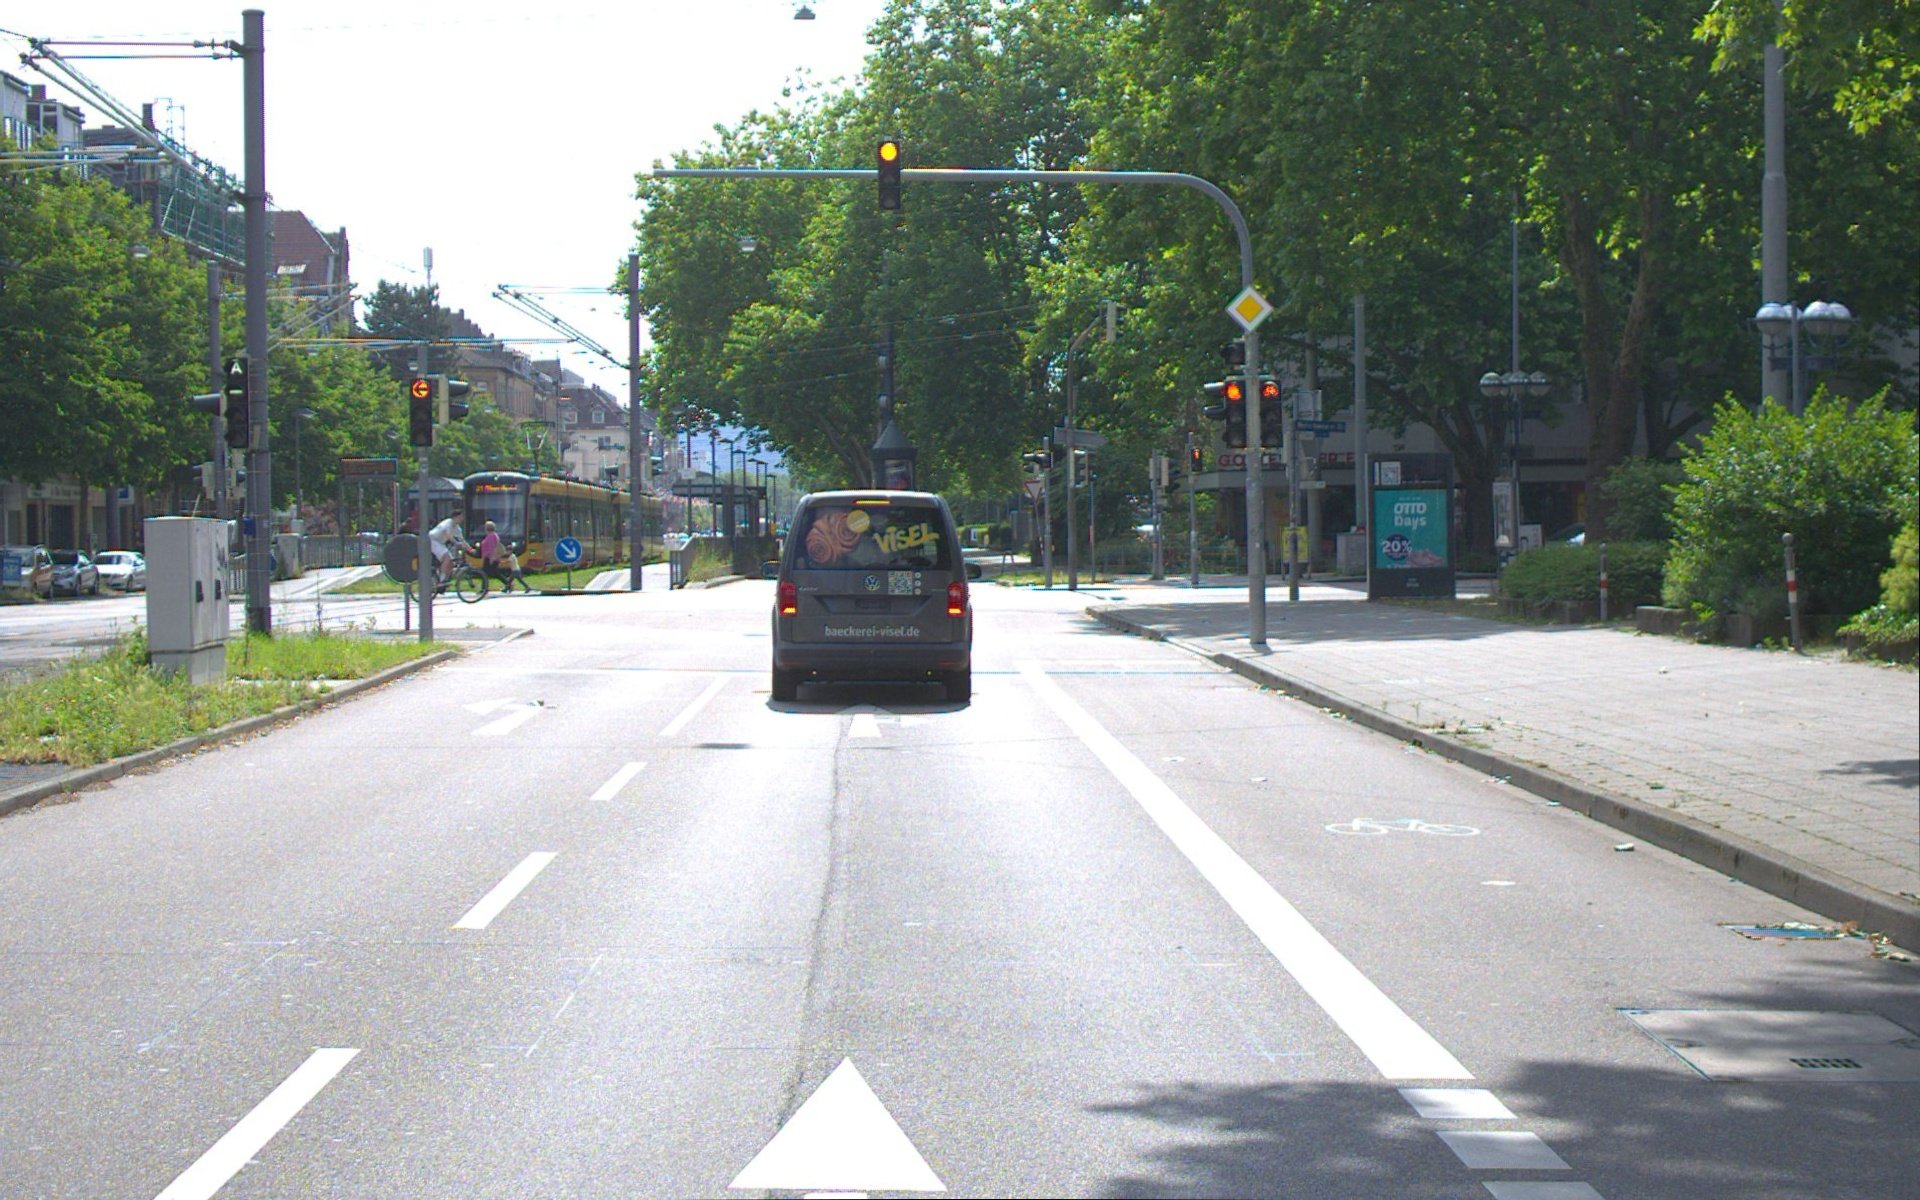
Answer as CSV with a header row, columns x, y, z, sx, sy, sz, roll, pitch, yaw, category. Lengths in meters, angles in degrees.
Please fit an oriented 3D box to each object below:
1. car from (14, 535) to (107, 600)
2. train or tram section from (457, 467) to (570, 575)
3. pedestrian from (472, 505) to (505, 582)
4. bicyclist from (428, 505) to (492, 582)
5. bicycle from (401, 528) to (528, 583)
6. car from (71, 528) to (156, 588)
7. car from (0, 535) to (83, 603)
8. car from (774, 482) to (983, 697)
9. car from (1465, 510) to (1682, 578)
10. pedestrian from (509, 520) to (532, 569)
x,y,z,sx,sy,sz,roll,pitch,yaw,category
-29.023,-1.077,111.042,1.993,2.007,4.000,-1,1,-1,car
-14.751,-2.641,114.413,2.240,3.320,12.973,-1,1,-1,train or tram section
-11.043,-1.335,80.540,0.659,1.778,0.660,-1,1,-1,pedestrian
-9.936,-1.120,68.302,0.998,1.506,0.780,-1,1,15,bicyclist
-9.837,-0.891,68.289,2.303,1.045,0.896,-1,2,16,bicycle
-29.398,-1.473,119.540,1.993,2.007,4.000,-1,1,-1,car
-28.541,-0.968,106.078,1.993,2.007,4.000,-1,1,-1,car
-0.718,-0.131,30.756,1.750,1.802,3.475,0,1,-1,car
13.415,-1.241,75.172,4.480,1.385,1.707,-2,1,-24,car
-10.348,-1.314,80.936,0.463,1.140,0.435,-1,1,-1,pedestrian
